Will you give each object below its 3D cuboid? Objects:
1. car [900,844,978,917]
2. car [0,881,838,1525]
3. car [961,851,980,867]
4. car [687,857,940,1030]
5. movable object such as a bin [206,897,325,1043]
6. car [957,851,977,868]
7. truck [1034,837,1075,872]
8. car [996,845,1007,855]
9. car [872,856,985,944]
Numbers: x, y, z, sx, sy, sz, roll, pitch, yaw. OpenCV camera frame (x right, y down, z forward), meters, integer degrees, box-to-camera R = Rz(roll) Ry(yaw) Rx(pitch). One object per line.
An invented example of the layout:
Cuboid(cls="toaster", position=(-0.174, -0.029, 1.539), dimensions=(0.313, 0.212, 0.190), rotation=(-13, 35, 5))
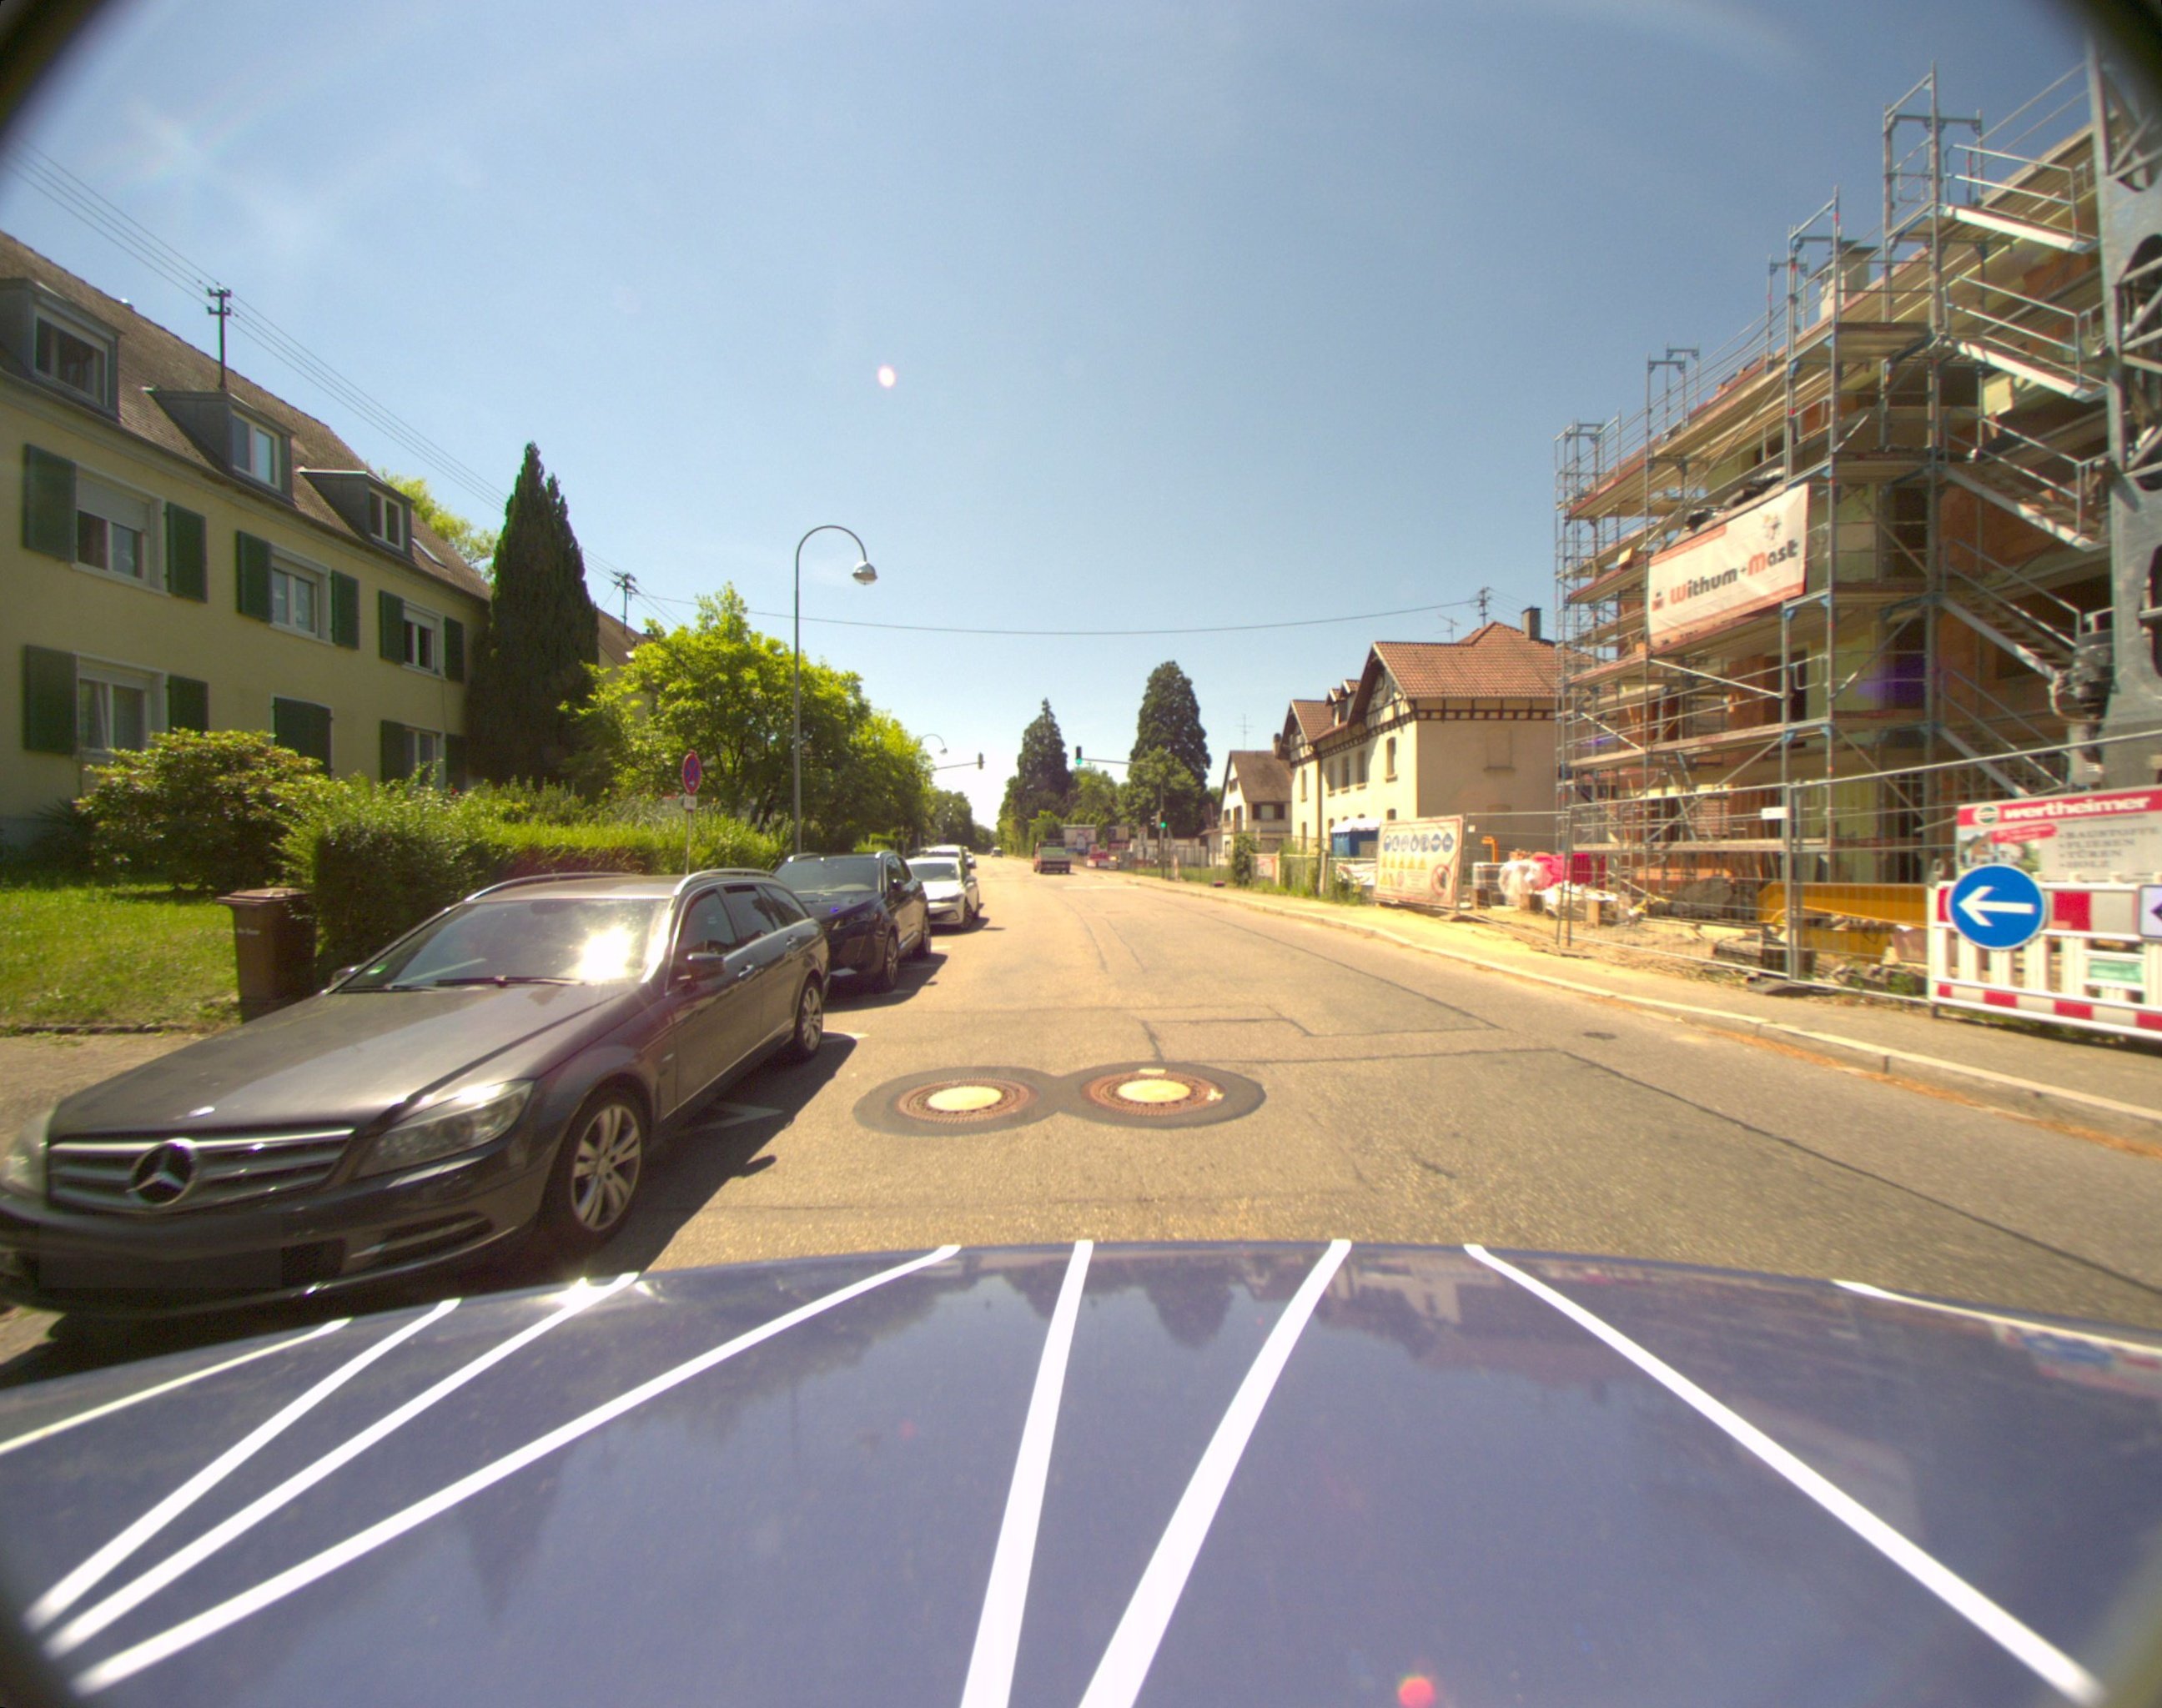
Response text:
Cuboid(cls="car", position=(-4.000, 0.660, 21.994), dimensions=(1.666, 1.793, 4.200), rotation=(-4, 2, -5))
Cuboid(cls="car", position=(-2.740, 1.000, 4.081), dimensions=(1.666, 1.424, 4.201), rotation=(-2, 1, -3))
Cuboid(cls="car", position=(-10.906, 0.460, 74.966), dimensions=(1.672, 1.427, 3.997), rotation=(-4, 0, -10))
Cuboid(cls="car", position=(-2.981, 0.878, 9.477), dimensions=(1.666, 1.530, 4.202), rotation=(-2, 1, -1))
Cuboid(cls="movable object such as a bin", position=(-6.918, 0.970, 6.465), dimensions=(0.482, 1.165, 0.432), rotation=(4, 0, -10))
Cuboid(cls="car", position=(-10.546, 0.461, 69.945), dimensions=(1.672, 1.457, 3.996), rotation=(-2, 1, -11))
Cuboid(cls="truck", position=(-1.928, -0.018, 53.208), dimensions=(2.135, 2.325, 6.428), rotation=(-1, 1, -9))
Cuboid(cls="car", position=(-13.250, -0.614, 126.662), dimensions=(1.658, 1.553, 3.881), rotation=(1, 1, -7))
Cuboid(cls="car", position=(-3.079, 0.857, 16.146), dimensions=(1.666, 1.427, 4.126), rotation=(-4, 2, -3))
